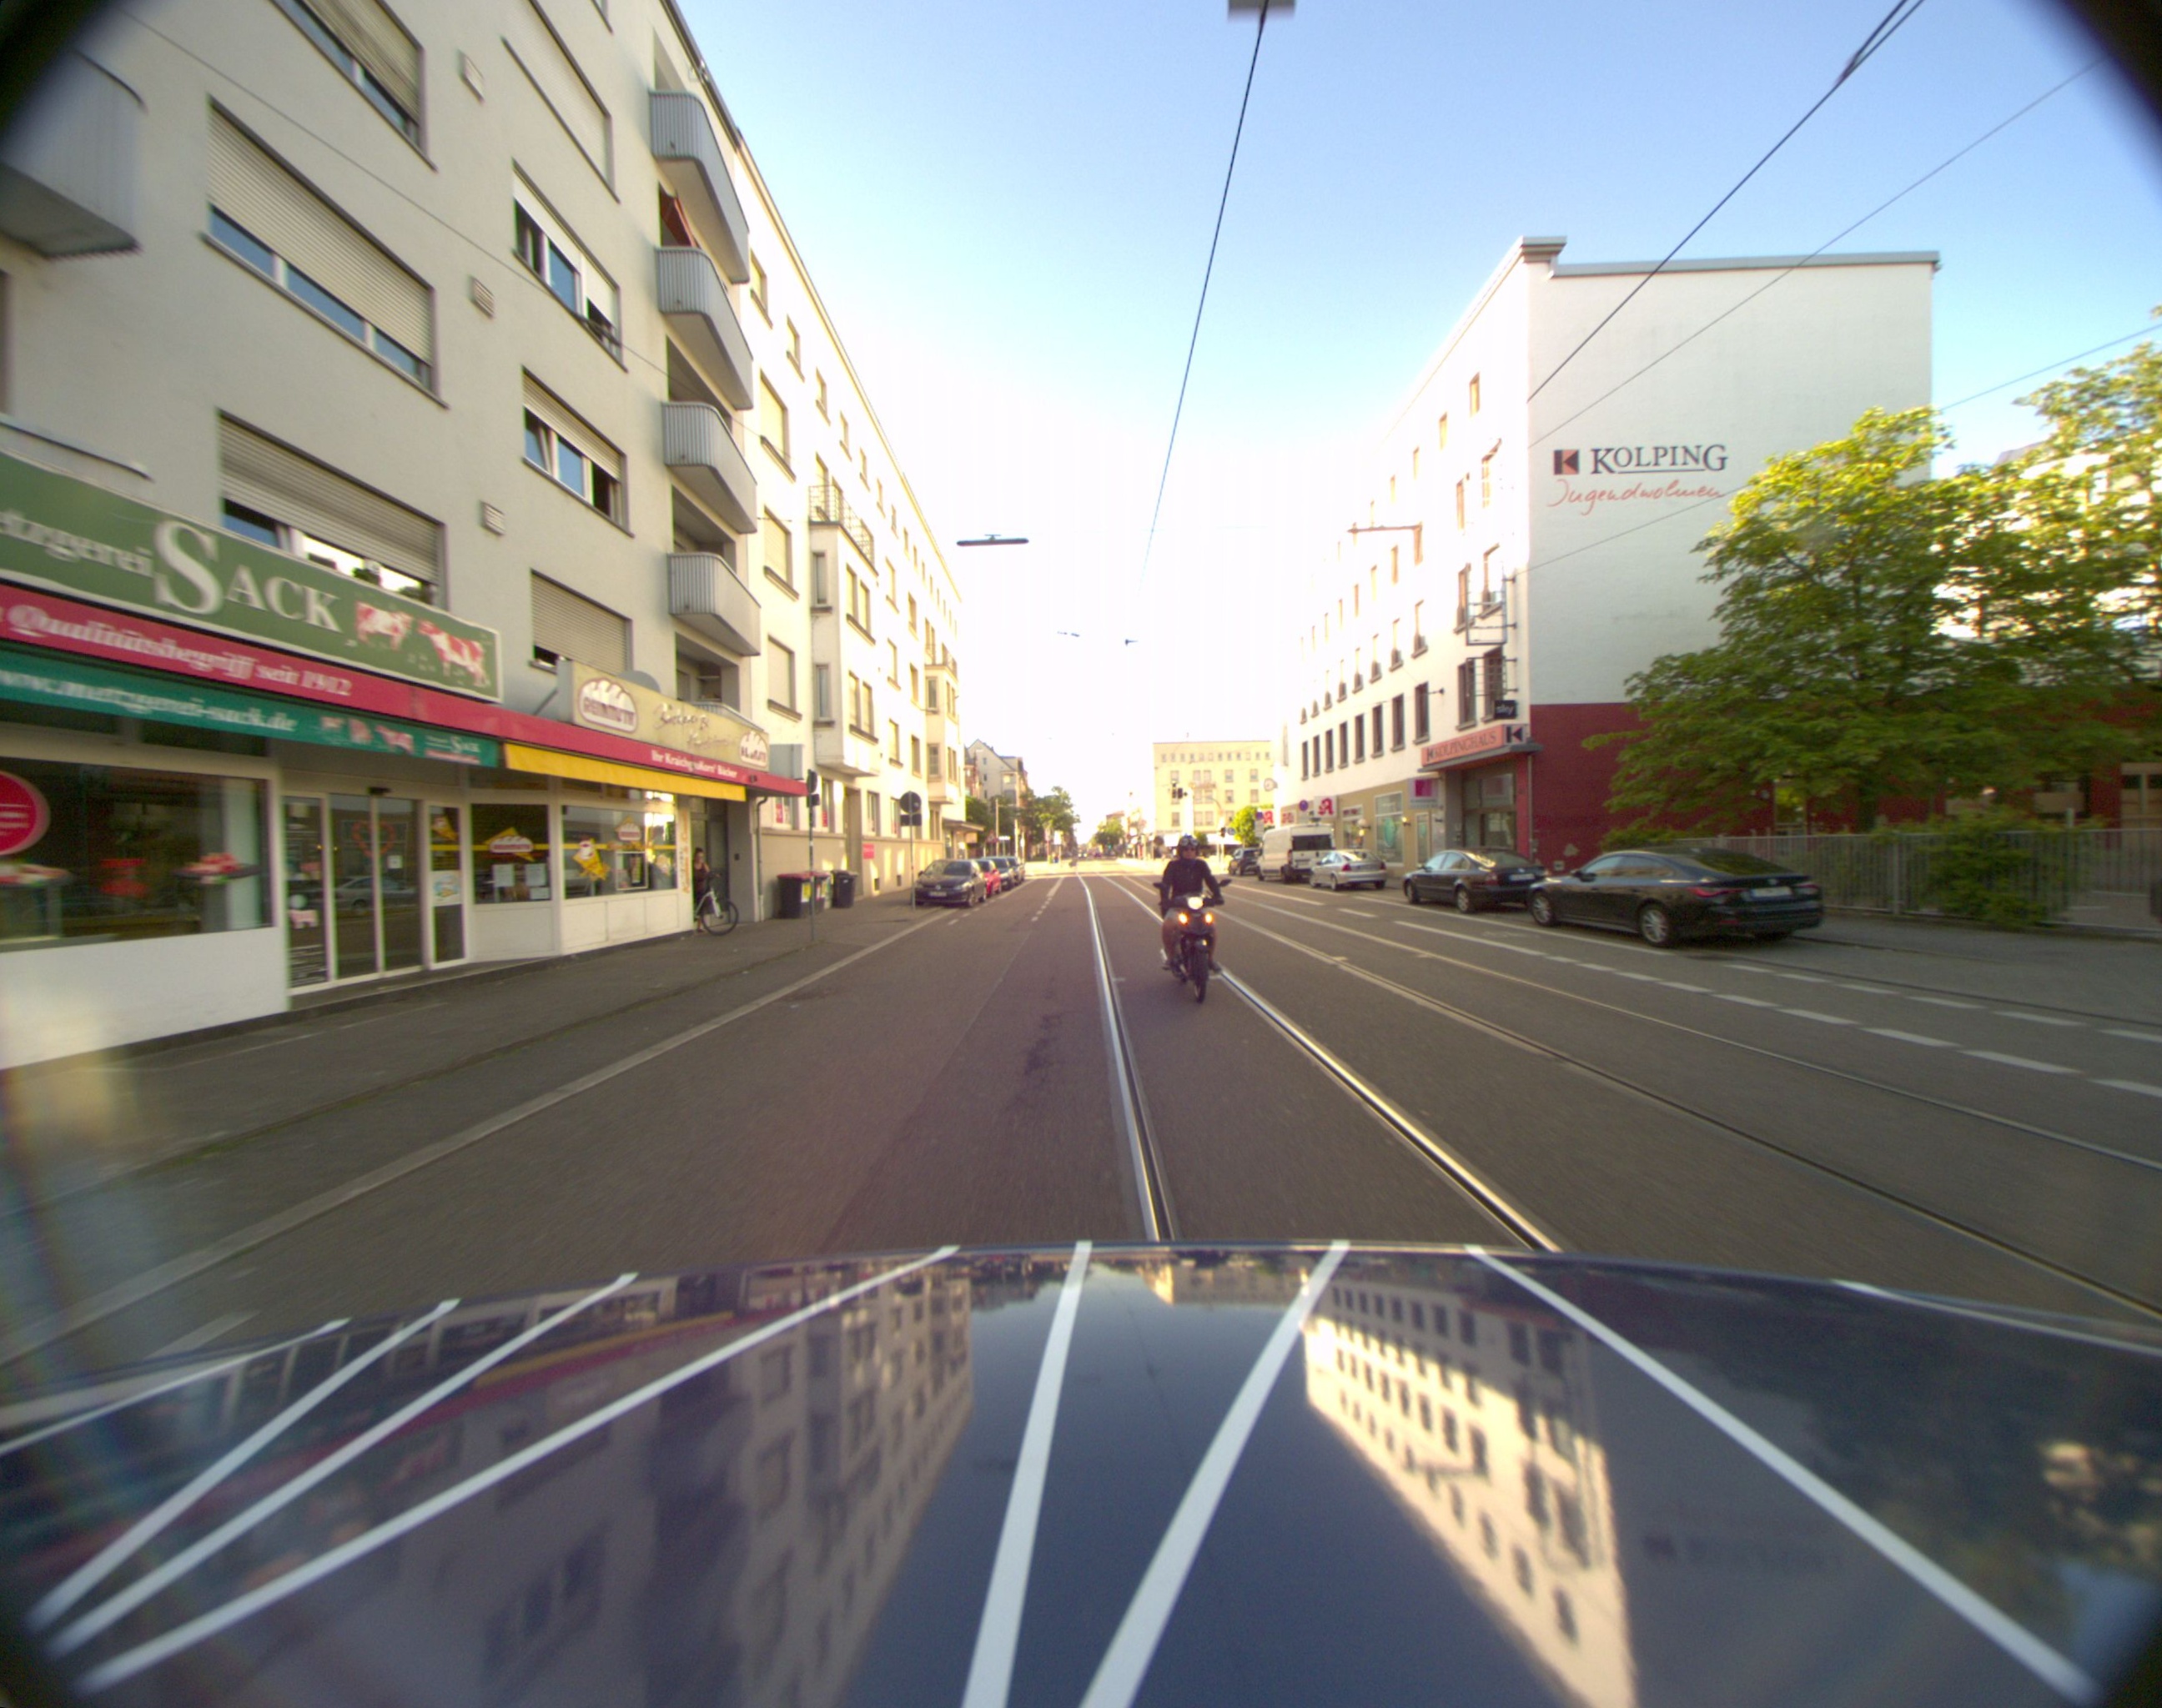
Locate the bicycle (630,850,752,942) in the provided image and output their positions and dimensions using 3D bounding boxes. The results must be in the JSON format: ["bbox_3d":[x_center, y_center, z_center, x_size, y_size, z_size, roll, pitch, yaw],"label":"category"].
[{"bbox_3d":[-7.598,0.801,14.867,1.935,1.701,0.775,-2,1,3],"label":"bicycle"}]

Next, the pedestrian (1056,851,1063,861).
[{"bbox_3d":[-2.645,0.226,91.920,0.774,1.197,0.610,-2,1,-8],"label":"pedestrian"}]

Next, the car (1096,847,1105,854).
[{"bbox_3d":[4.420,-0.890,174.687,1.970,1.577,4.000,-2,1,2],"label":"car"}]

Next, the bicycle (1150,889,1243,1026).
[{"bbox_3d":[1.178,1.023,8.097,0.767,1.192,1.752,-1,1,3],"label":"bicycle"}]

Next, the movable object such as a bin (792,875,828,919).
[{"bbox_3d":[-6.888,1.080,19.317,0.677,1.066,0.569,-2,1,-1],"label":"movable object such as a bin"}]

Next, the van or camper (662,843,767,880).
[{"bbox_3d":[-29.235,0.571,60.872,6.928,2.797,2.922,-1,1,3],"label":"van or camper"}]

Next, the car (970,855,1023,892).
[{"bbox_3d":[-3.771,0.835,34.582,1.862,1.499,4.095,1,1,1],"label":"car"}]

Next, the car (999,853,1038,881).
[{"bbox_3d":[-3.648,0.741,45.168,1.752,1.499,4.918,1,1,2],"label":"car"}]

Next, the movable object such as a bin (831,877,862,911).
[{"bbox_3d":[-6.612,1.124,21.418,0.657,0.911,0.569,-2,1,-1],"label":"movable object such as a bin"}]

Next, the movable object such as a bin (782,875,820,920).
[{"bbox_3d":[-6.894,1.066,18.731,0.677,1.066,0.569,-2,1,-1],"label":"movable object such as a bin"}]

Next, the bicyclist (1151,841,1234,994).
[{"bbox_3d":[1.166,0.633,8.126,0.774,1.531,0.939,-1,1,4],"label":"bicyclist"}]

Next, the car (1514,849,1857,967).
[{"bbox_3d":[9.420,0.705,12.521,1.787,1.437,4.841,-3,1,1],"label":"car"}]

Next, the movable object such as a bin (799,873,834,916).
[{"bbox_3d":[-6.917,1.063,19.899,0.677,1.066,0.569,-2,1,-1],"label":"movable object such as a bin"}]

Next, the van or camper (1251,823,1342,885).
[{"bbox_3d":[9.525,-0.026,34.272,2.177,2.453,6.231,-3,1,0],"label":"van or camper"}]

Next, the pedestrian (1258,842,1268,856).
[{"bbox_3d":[22.442,-0.644,93.705,0.668,1.686,0.837,-2,1,-31],"label":"pedestrian"}]

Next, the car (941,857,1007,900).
[{"bbox_3d":[-4.070,0.883,29.377,1.862,1.464,3.988,1,1,1],"label":"car"}]

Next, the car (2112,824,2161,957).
[{"bbox_3d":[15.147,0.376,8.511,4.372,1.588,2.000,-2,1,2],"label":"car"}]

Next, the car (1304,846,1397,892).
[{"bbox_3d":[9.539,0.472,27.285,1.787,1.390,4.445,-3,1,2],"label":"car"}]

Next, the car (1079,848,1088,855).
[{"bbox_3d":[0.535,-0.580,177.353,1.971,1.577,4.000,-2,1,1],"label":"car"}]

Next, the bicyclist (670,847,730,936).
[{"bbox_3d":[-7.492,0.725,14.958,0.844,1.693,0.510,-2,1,4],"label":"bicyclist"}]

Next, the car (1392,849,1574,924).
[{"bbox_3d":[9.382,0.662,18.251,1.788,1.472,4.699,-3,1,0],"label":"car"}]

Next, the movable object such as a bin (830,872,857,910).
[{"bbox_3d":[-6.890,1.072,22.064,0.560,1.051,0.554,-2,1,-1],"label":"movable object such as a bin"}]

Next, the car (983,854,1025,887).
[{"bbox_3d":[-3.904,0.803,39.110,1.862,1.499,4.505,1,1,-2],"label":"car"}]

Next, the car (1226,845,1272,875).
[{"bbox_3d":[9.689,0.321,44.110,1.787,1.543,3.992,-3,1,2],"label":"car"}]

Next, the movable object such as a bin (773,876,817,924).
[{"bbox_3d":[-6.827,1.086,18.139,0.772,1.066,0.617,-2,1,-1],"label":"movable object such as a bin"}]

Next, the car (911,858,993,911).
[{"bbox_3d":[-3.979,0.892,24.060,1.714,1.399,4.358,1,1,1],"label":"car"}]
